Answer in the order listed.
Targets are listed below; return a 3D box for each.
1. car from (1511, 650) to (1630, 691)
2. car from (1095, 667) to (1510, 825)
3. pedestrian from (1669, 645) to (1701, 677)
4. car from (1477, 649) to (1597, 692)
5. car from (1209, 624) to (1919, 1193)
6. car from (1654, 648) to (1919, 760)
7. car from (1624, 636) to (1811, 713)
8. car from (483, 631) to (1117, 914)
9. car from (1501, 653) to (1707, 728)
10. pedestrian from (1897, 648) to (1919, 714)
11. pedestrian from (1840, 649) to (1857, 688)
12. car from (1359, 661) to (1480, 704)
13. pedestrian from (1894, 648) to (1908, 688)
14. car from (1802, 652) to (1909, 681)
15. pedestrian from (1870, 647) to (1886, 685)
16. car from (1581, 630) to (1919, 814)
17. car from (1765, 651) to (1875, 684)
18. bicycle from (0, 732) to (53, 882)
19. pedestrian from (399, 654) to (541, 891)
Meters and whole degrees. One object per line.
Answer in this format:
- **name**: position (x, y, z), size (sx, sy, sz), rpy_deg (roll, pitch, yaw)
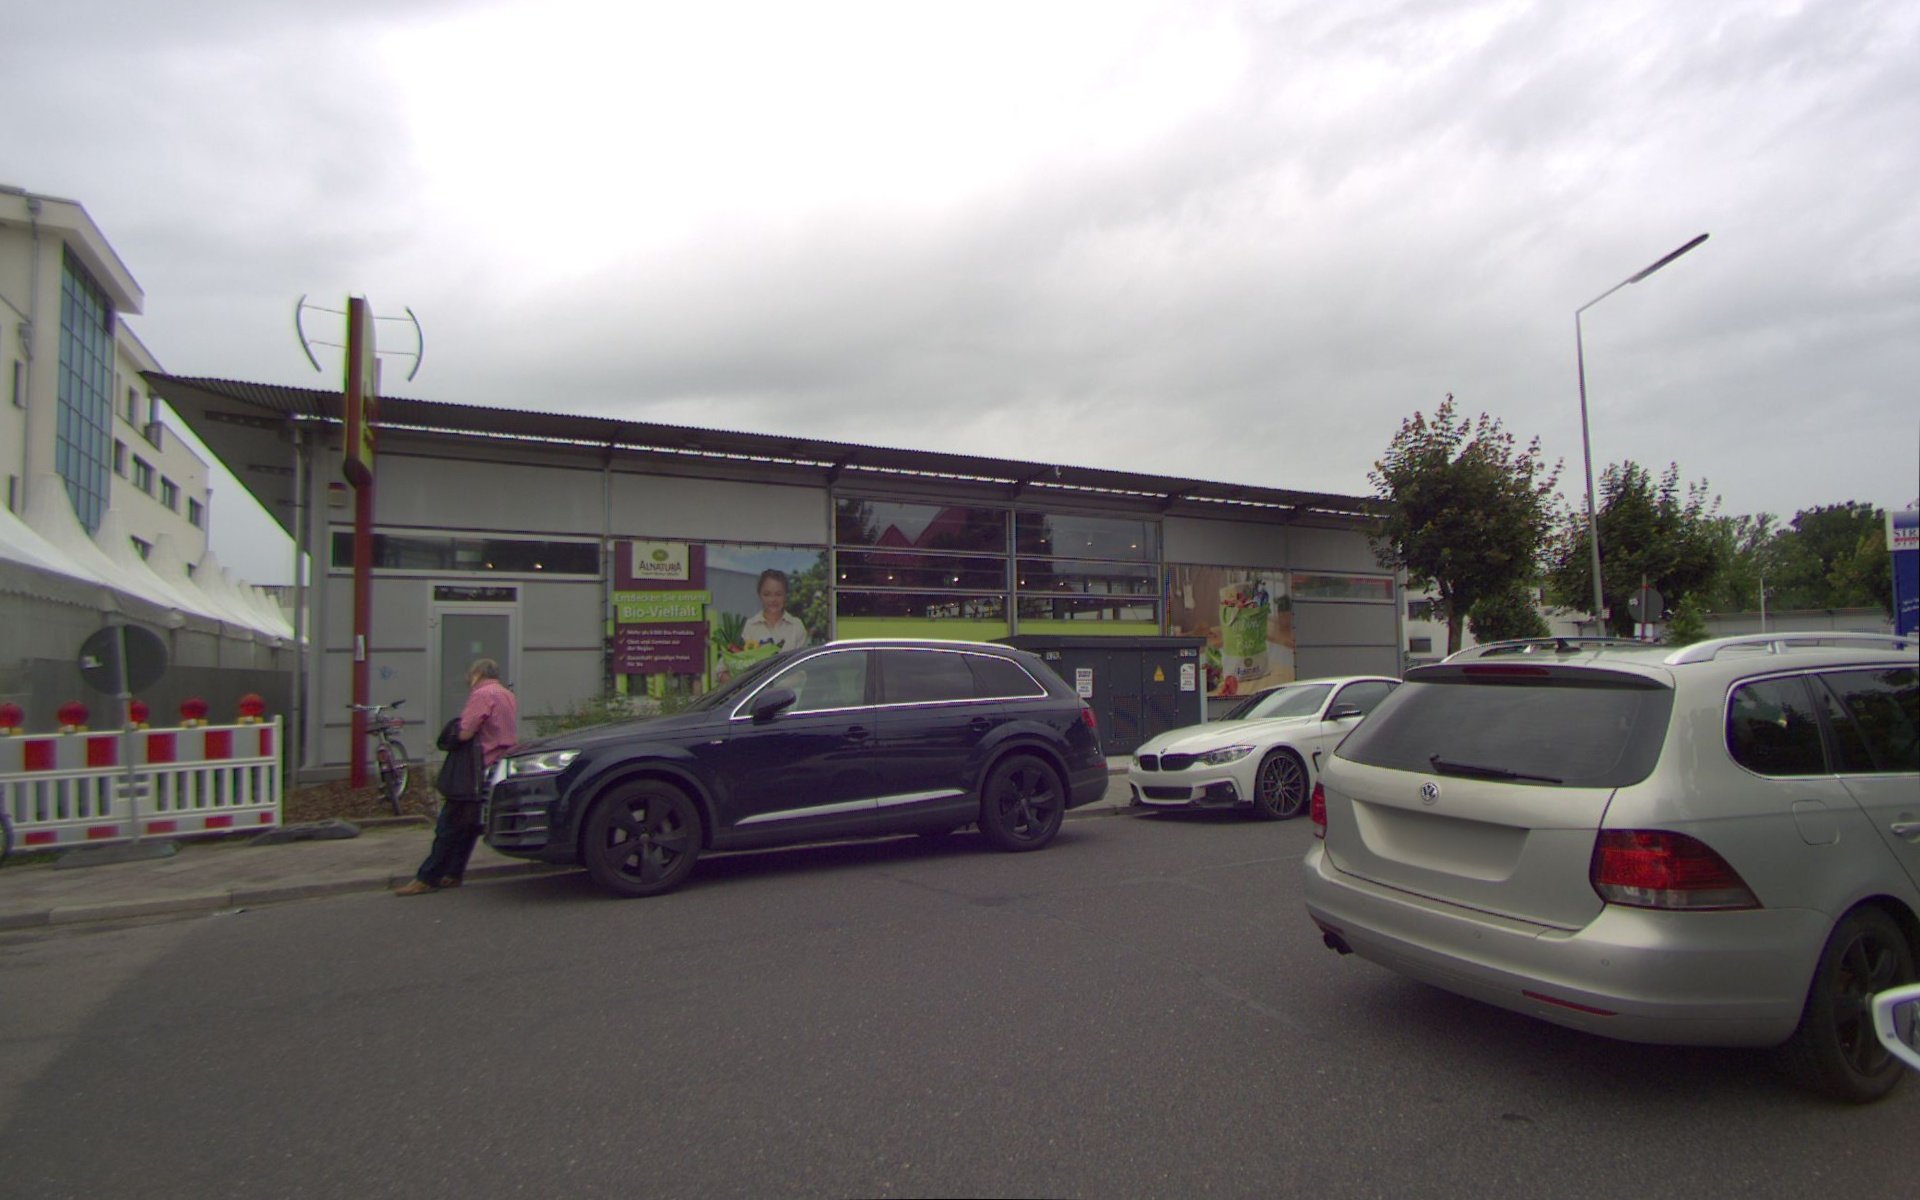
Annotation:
- **car**: position (26.263, 3.050, 43.317), size (1.853, 1.690, 3.972), rpy_deg (1, -4, -28)
- **car**: position (3.805, 1.519, 10.990), size (4.464, 1.384, 1.693), rpy_deg (2, -9, -30)
- **pedestrian**: position (47.632, 4.029, 66.002), size (1.361, 2.039, 1.211), rpy_deg (-2, -4, 21)
- **car**: position (24.157, 2.973, 42.201), size (1.853, 1.690, 3.972), rpy_deg (1, -4, -28)
- **car**: position (3.345, 0.892, 4.311), size (4.237, 1.470, 1.749), rpy_deg (1, -4, -24)
- **car**: position (13.211, 1.622, 15.873), size (4.352, 1.545, 1.939), rpy_deg (2, -8, -31)
- **car**: position (21.732, 2.145, 28.957), size (1.744, 2.039, 3.905), rpy_deg (2, -5, -35)
- **car**: position (-1.218, 1.211, 8.090), size (4.669, 1.712, 1.860), rpy_deg (1, -8, -28)
- **car**: position (15.759, 2.158, 24.787), size (1.903, 1.641, 3.859), rpy_deg (1, -3, -28)
- **pedestrian**: position (25.494, 2.136, 26.608), size (0.689, 1.737, 0.771), rpy_deg (2, -3, -33)
- **pedestrian**: position (37.748, 2.919, 42.682), size (0.450, 1.663, 0.372), rpy_deg (-4, -5, 44)
- **car**: position (16.995, 3.040, 37.224), size (3.926, 1.504, 1.875), rpy_deg (-3, -4, 26)
- **pedestrian**: position (38.329, 2.762, 40.931), size (0.500, 1.590, 0.327), rpy_deg (2, -3, -40)
- **car**: position (48.736, 3.652, 54.756), size (1.763, 1.511, 3.973), rpy_deg (1, -4, -27)
- **pedestrian**: position (38.259, 2.754, 41.864), size (0.500, 1.590, 0.356), rpy_deg (2, -4, -39)
- **car**: position (8.047, 1.159, 10.037), size (3.486, 1.547, 1.592), rpy_deg (2, -6, -30)
- **car**: position (45.270, 3.574, 52.969), size (1.853, 1.690, 3.972), rpy_deg (1, -4, -28)
- **bicycle**: position (-8.134, 1.574, 7.516), size (1.874, 1.091, 0.543), rpy_deg (2, -4, -23)
- **pedestrian**: position (-3.632, 1.261, 7.484), size (0.641, 1.641, 0.675), rpy_deg (-6, -8, 25)
